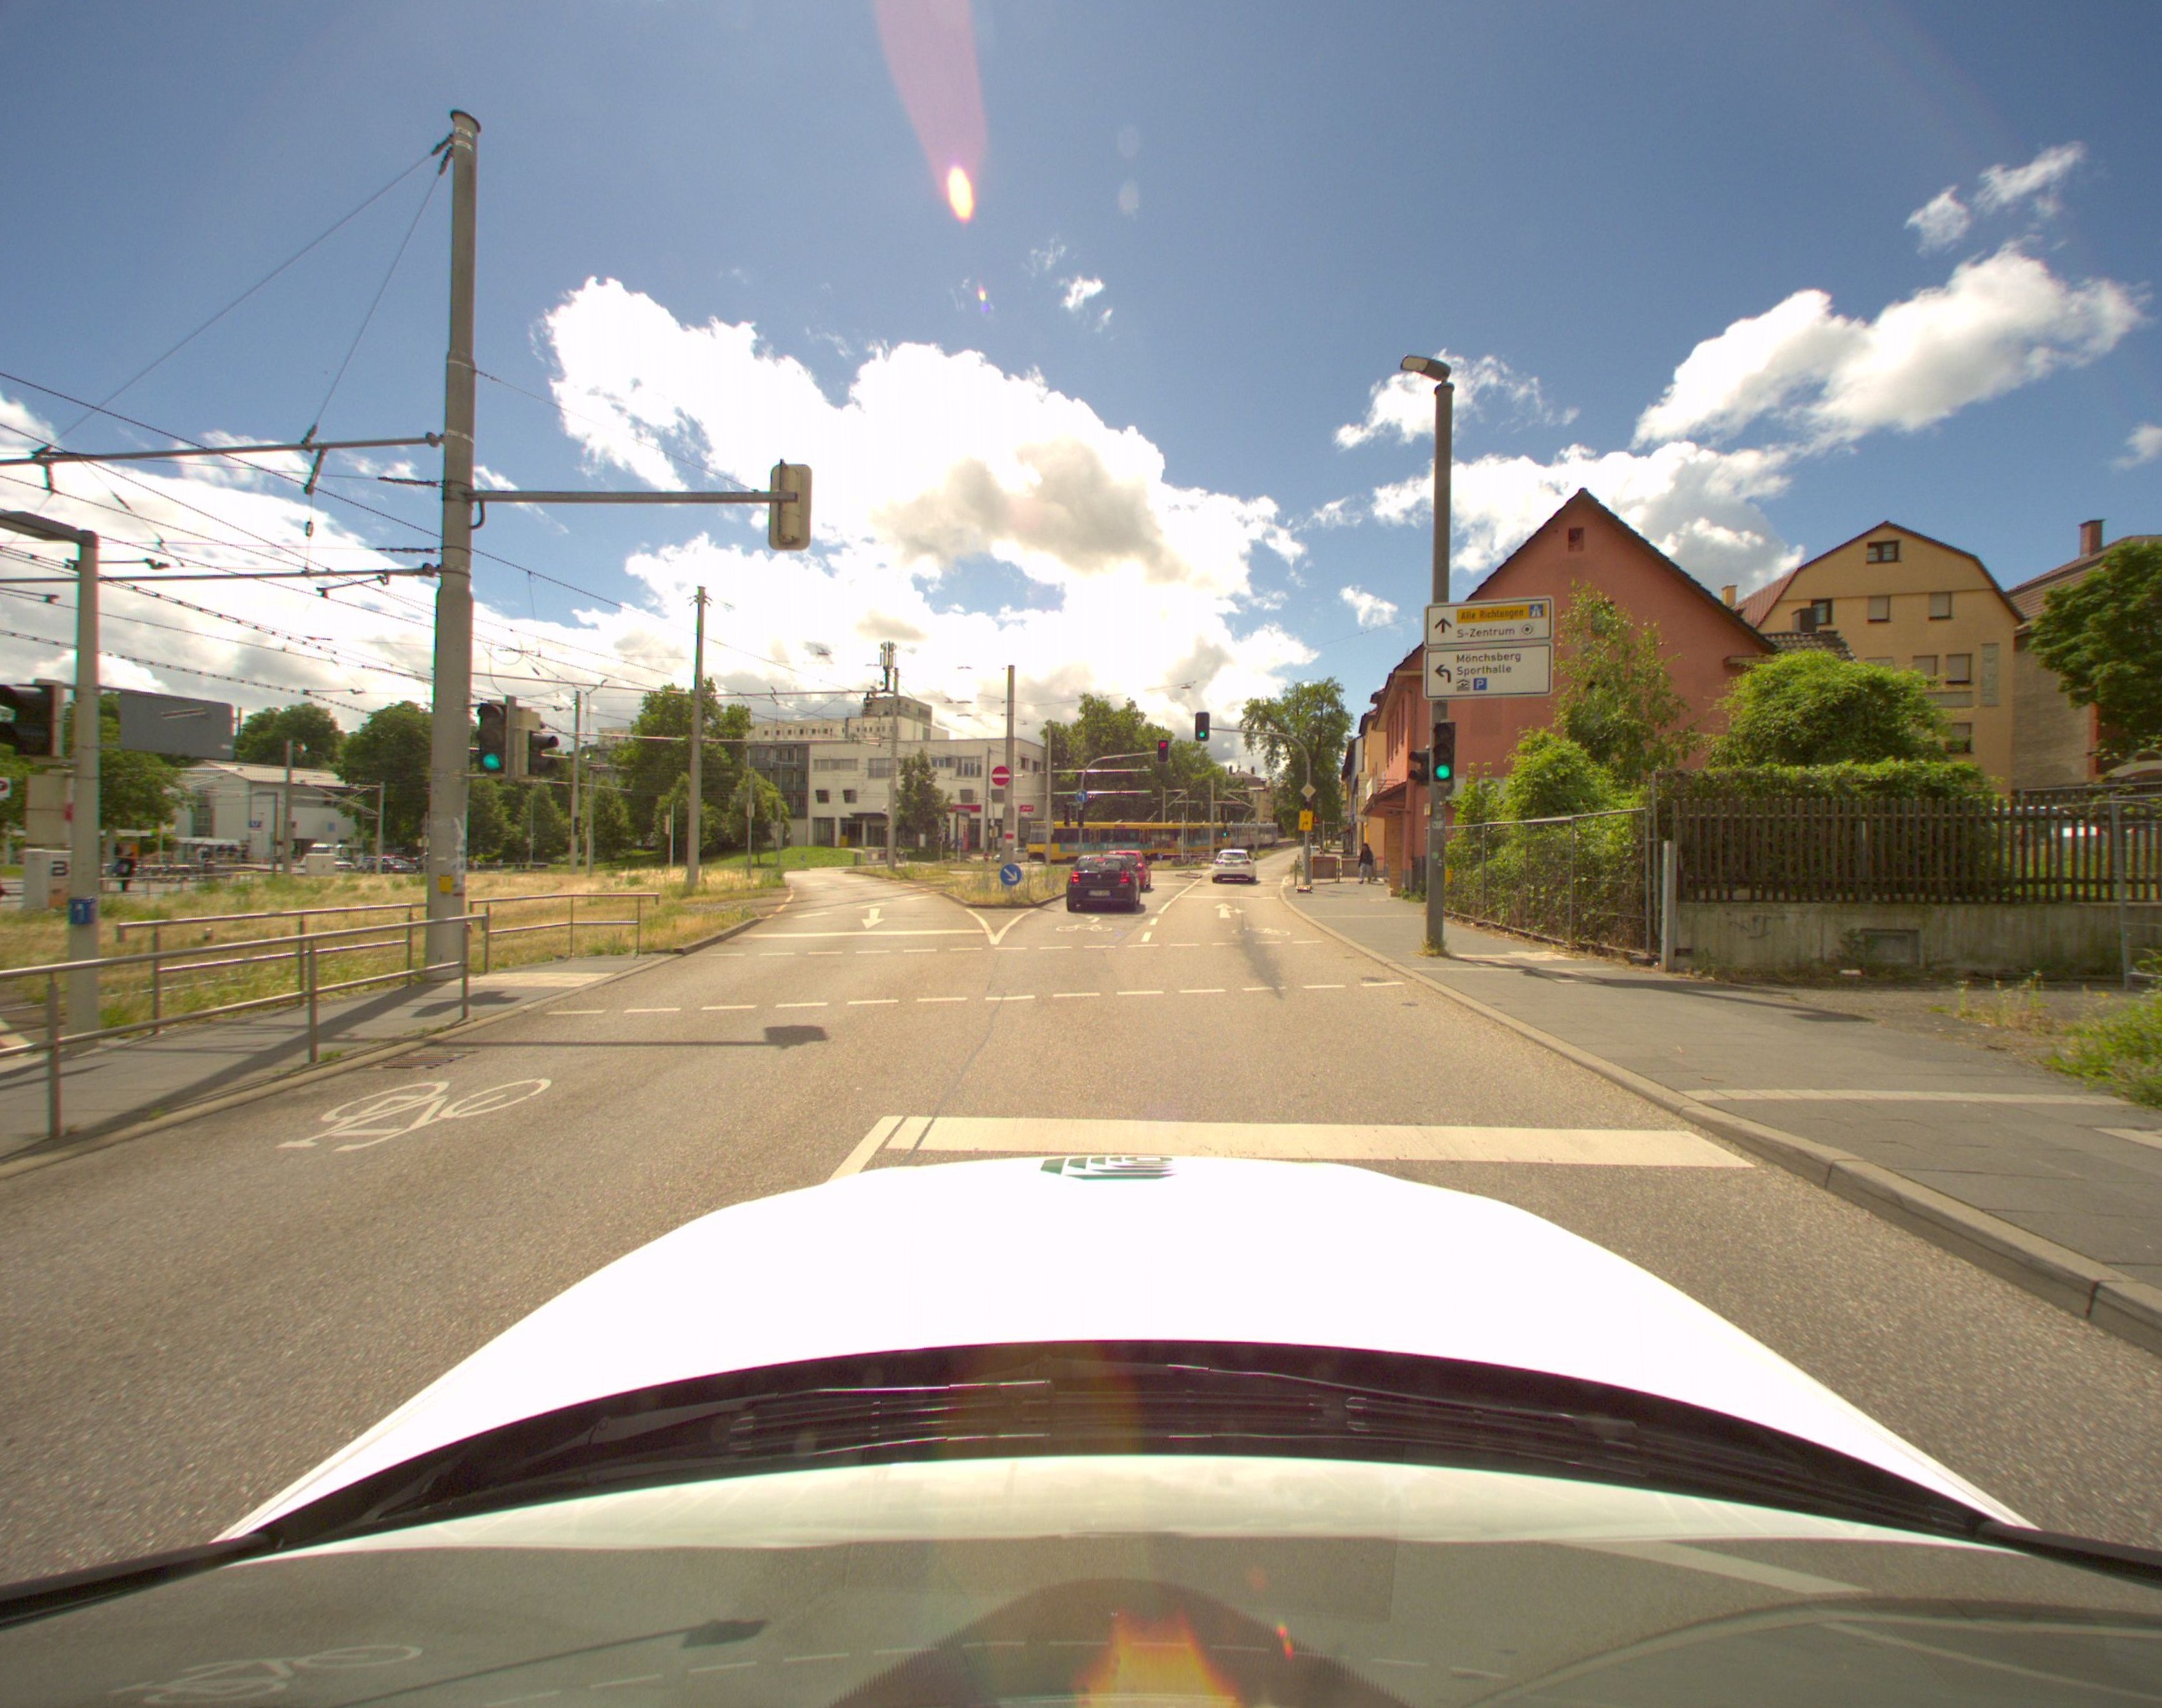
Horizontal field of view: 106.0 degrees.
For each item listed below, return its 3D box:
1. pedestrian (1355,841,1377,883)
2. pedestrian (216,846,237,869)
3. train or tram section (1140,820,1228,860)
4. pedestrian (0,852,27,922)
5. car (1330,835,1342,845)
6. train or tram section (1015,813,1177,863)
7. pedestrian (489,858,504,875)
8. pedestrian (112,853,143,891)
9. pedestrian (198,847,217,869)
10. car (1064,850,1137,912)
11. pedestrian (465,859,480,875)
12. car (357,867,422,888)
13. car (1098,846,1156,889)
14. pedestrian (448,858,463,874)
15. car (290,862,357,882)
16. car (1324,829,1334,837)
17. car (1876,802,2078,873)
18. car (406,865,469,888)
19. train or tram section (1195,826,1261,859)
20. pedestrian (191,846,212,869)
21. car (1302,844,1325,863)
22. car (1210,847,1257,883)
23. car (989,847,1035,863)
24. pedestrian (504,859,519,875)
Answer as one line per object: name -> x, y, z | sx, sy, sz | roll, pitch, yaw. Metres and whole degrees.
pedestrian -> 11.418, 0.313, 32.673 | 0.758, 1.642, 0.781 | -1, 1, 16
pedestrian -> -65.989, 0.248, 62.866 | 0.789, 1.732, 0.842 | 0, 0, 18
train or tram section -> 11.641, -1.305, 88.536 | 3.716, 3.829, 20.261 | -1, -1, 24
pedestrian -> -31.266, 0.944, 23.412 | 0.868, 1.968, 1.104 | 0, -1, -34
car -> 50.384, -2.751, 160.840 | 2.106, 1.858, 3.756 | 0, 1, 19
train or tram section -> 1.958, -1.260, 72.573 | 3.713, 3.919, 19.016 | -1, -1, 38
pedestrian -> -58.158, 1.240, 81.063 | 0.808, 1.576, 0.844 | 0, 0, 11
pedestrian -> -41.532, 0.790, 35.480 | 0.723, 1.625, 0.870 | -1, -1, 41
pedestrian -> -67.607, 0.297, 63.016 | 0.666, 1.684, 0.760 | 0, 0, 18
car -> 0.537, 0.650, 21.231 | 1.694, 1.452, 4.002 | -1, -1, 2
pedestrian -> -60.726, 1.287, 81.254 | 0.808, 1.576, 0.844 | 0, 0, 9
car -> -55.722, 1.870, 65.666 | 4.210, 1.651, 1.927 | -1, -1, 15
car -> 1.767, 0.492, 30.215 | 1.614, 1.473, 4.012 | -1, -1, 11
pedestrian -> -62.590, 1.221, 81.501 | 0.808, 1.576, 0.844 | 0, 0, 10
car -> -62.344, 1.468, 67.023 | 4.444, 1.555, 1.946 | -1, -1, 15
car -> 67.392, -5.585, 221.653 | 1.975, 2.014, 4.023 | -1, -1, 26
car -> 24.577, -0.437, 22.578 | 1.978, 1.782, 4.018 | 0, 1, 16
car -> -53.952, 1.868, 68.290 | 4.194, 1.791, 2.031 | -1, 0, 15
train or tram section -> 19.554, -1.306, 106.489 | 3.716, 3.879, 20.749 | -1, -1, 23
pedestrian -> -67.249, 0.250, 62.259 | 0.789, 1.753, 0.842 | 0, 0, 18
car -> 20.897, -0.056, 73.139 | 1.773, 1.596, 4.018 | -1, -1, 18
car -> 6.927, 0.452, 36.746 | 1.802, 1.468, 4.016 | 1, 1, 15
car -> -6.440, 0.121, 75.968 | 1.866, 1.417, 4.023 | -1, -1, 45
pedestrian -> -55.227, 1.275, 78.974 | 0.808, 1.576, 0.844 | 0, 0, 10
